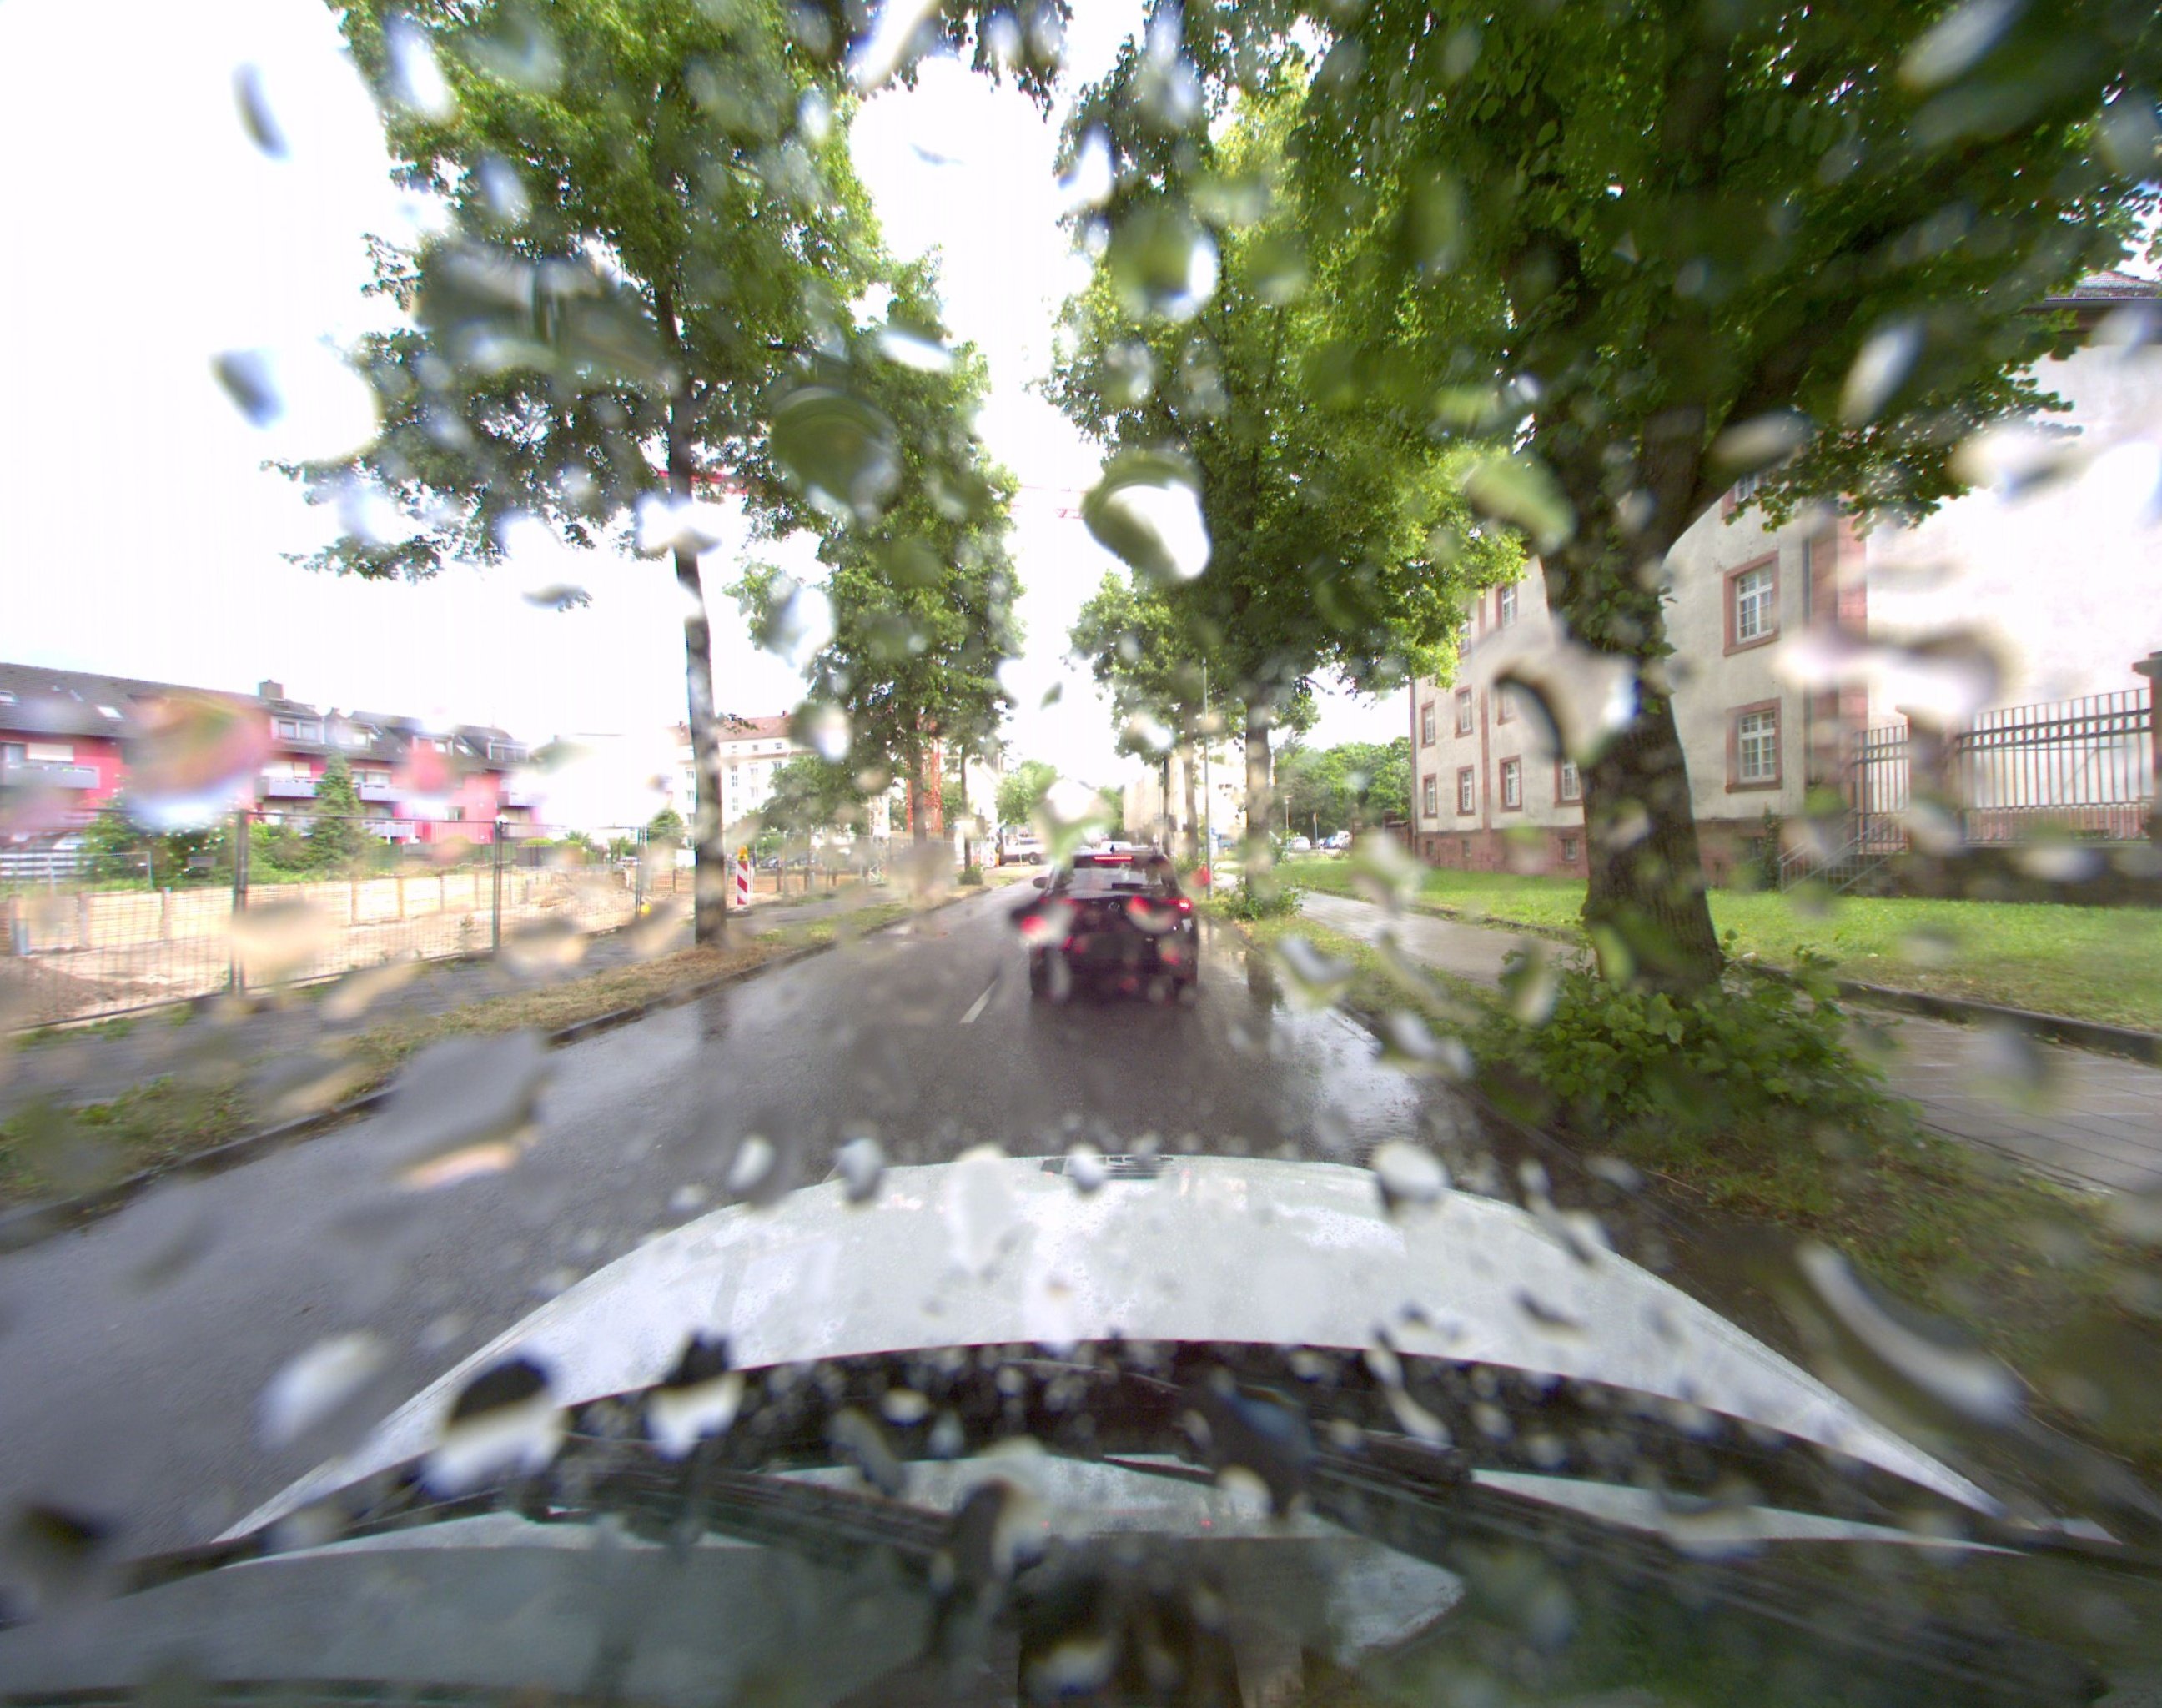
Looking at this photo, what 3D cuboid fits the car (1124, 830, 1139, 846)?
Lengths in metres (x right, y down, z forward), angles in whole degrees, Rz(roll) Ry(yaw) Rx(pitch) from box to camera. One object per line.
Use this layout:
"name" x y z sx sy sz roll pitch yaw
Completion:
"car" 6.959 -2.188 112.858 1.986 2.013 4.002 -1 0 2

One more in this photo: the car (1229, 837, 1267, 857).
"car" 16.141 -0.714 78.883 3.388 1.781 1.764 -3 0 8

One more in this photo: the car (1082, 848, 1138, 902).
"car" 1.103 0.696 29.293 1.672 1.708 3.915 -4 0 5

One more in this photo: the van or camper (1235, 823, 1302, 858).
"van or camper" 15.386 -1.094 66.976 5.015 2.595 2.168 -2 0 0

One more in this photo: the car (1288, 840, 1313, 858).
"car" 21.596 -0.500 80.244 1.733 1.684 3.879 -4 0 8

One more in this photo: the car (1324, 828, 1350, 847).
"car" 30.017 -1.937 95.547 1.984 2.013 4.007 -4 0 6

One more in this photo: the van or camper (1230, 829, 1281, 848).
"van or camper" 17.945 -1.603 84.017 4.855 1.925 2.133 -1 1 2

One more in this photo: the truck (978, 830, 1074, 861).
"truck" -4.979 -0.747 73.114 8.140 2.656 2.830 0 1 23

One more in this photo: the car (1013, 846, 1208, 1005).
"car" 0.352 0.685 9.969 1.887 1.522 4.002 -1 1 2

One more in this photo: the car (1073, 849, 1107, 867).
"car" 1.023 0.422 89.969 1.737 1.651 3.961 -4 0 34

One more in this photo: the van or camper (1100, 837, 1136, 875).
"van or camper" 2.037 0.060 43.765 1.812 1.947 4.199 -1 1 3

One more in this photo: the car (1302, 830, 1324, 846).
"car" 28.867 -1.983 101.347 1.858 1.857 3.816 -4 0 6

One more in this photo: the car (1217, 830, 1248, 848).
"car" 17.561 -1.692 94.230 3.385 1.781 1.765 -4 0 10

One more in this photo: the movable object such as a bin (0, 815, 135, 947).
"movable object such as a bin" -54.628 1.378 35.016 6.806 6.043 16.846 0 1 26
